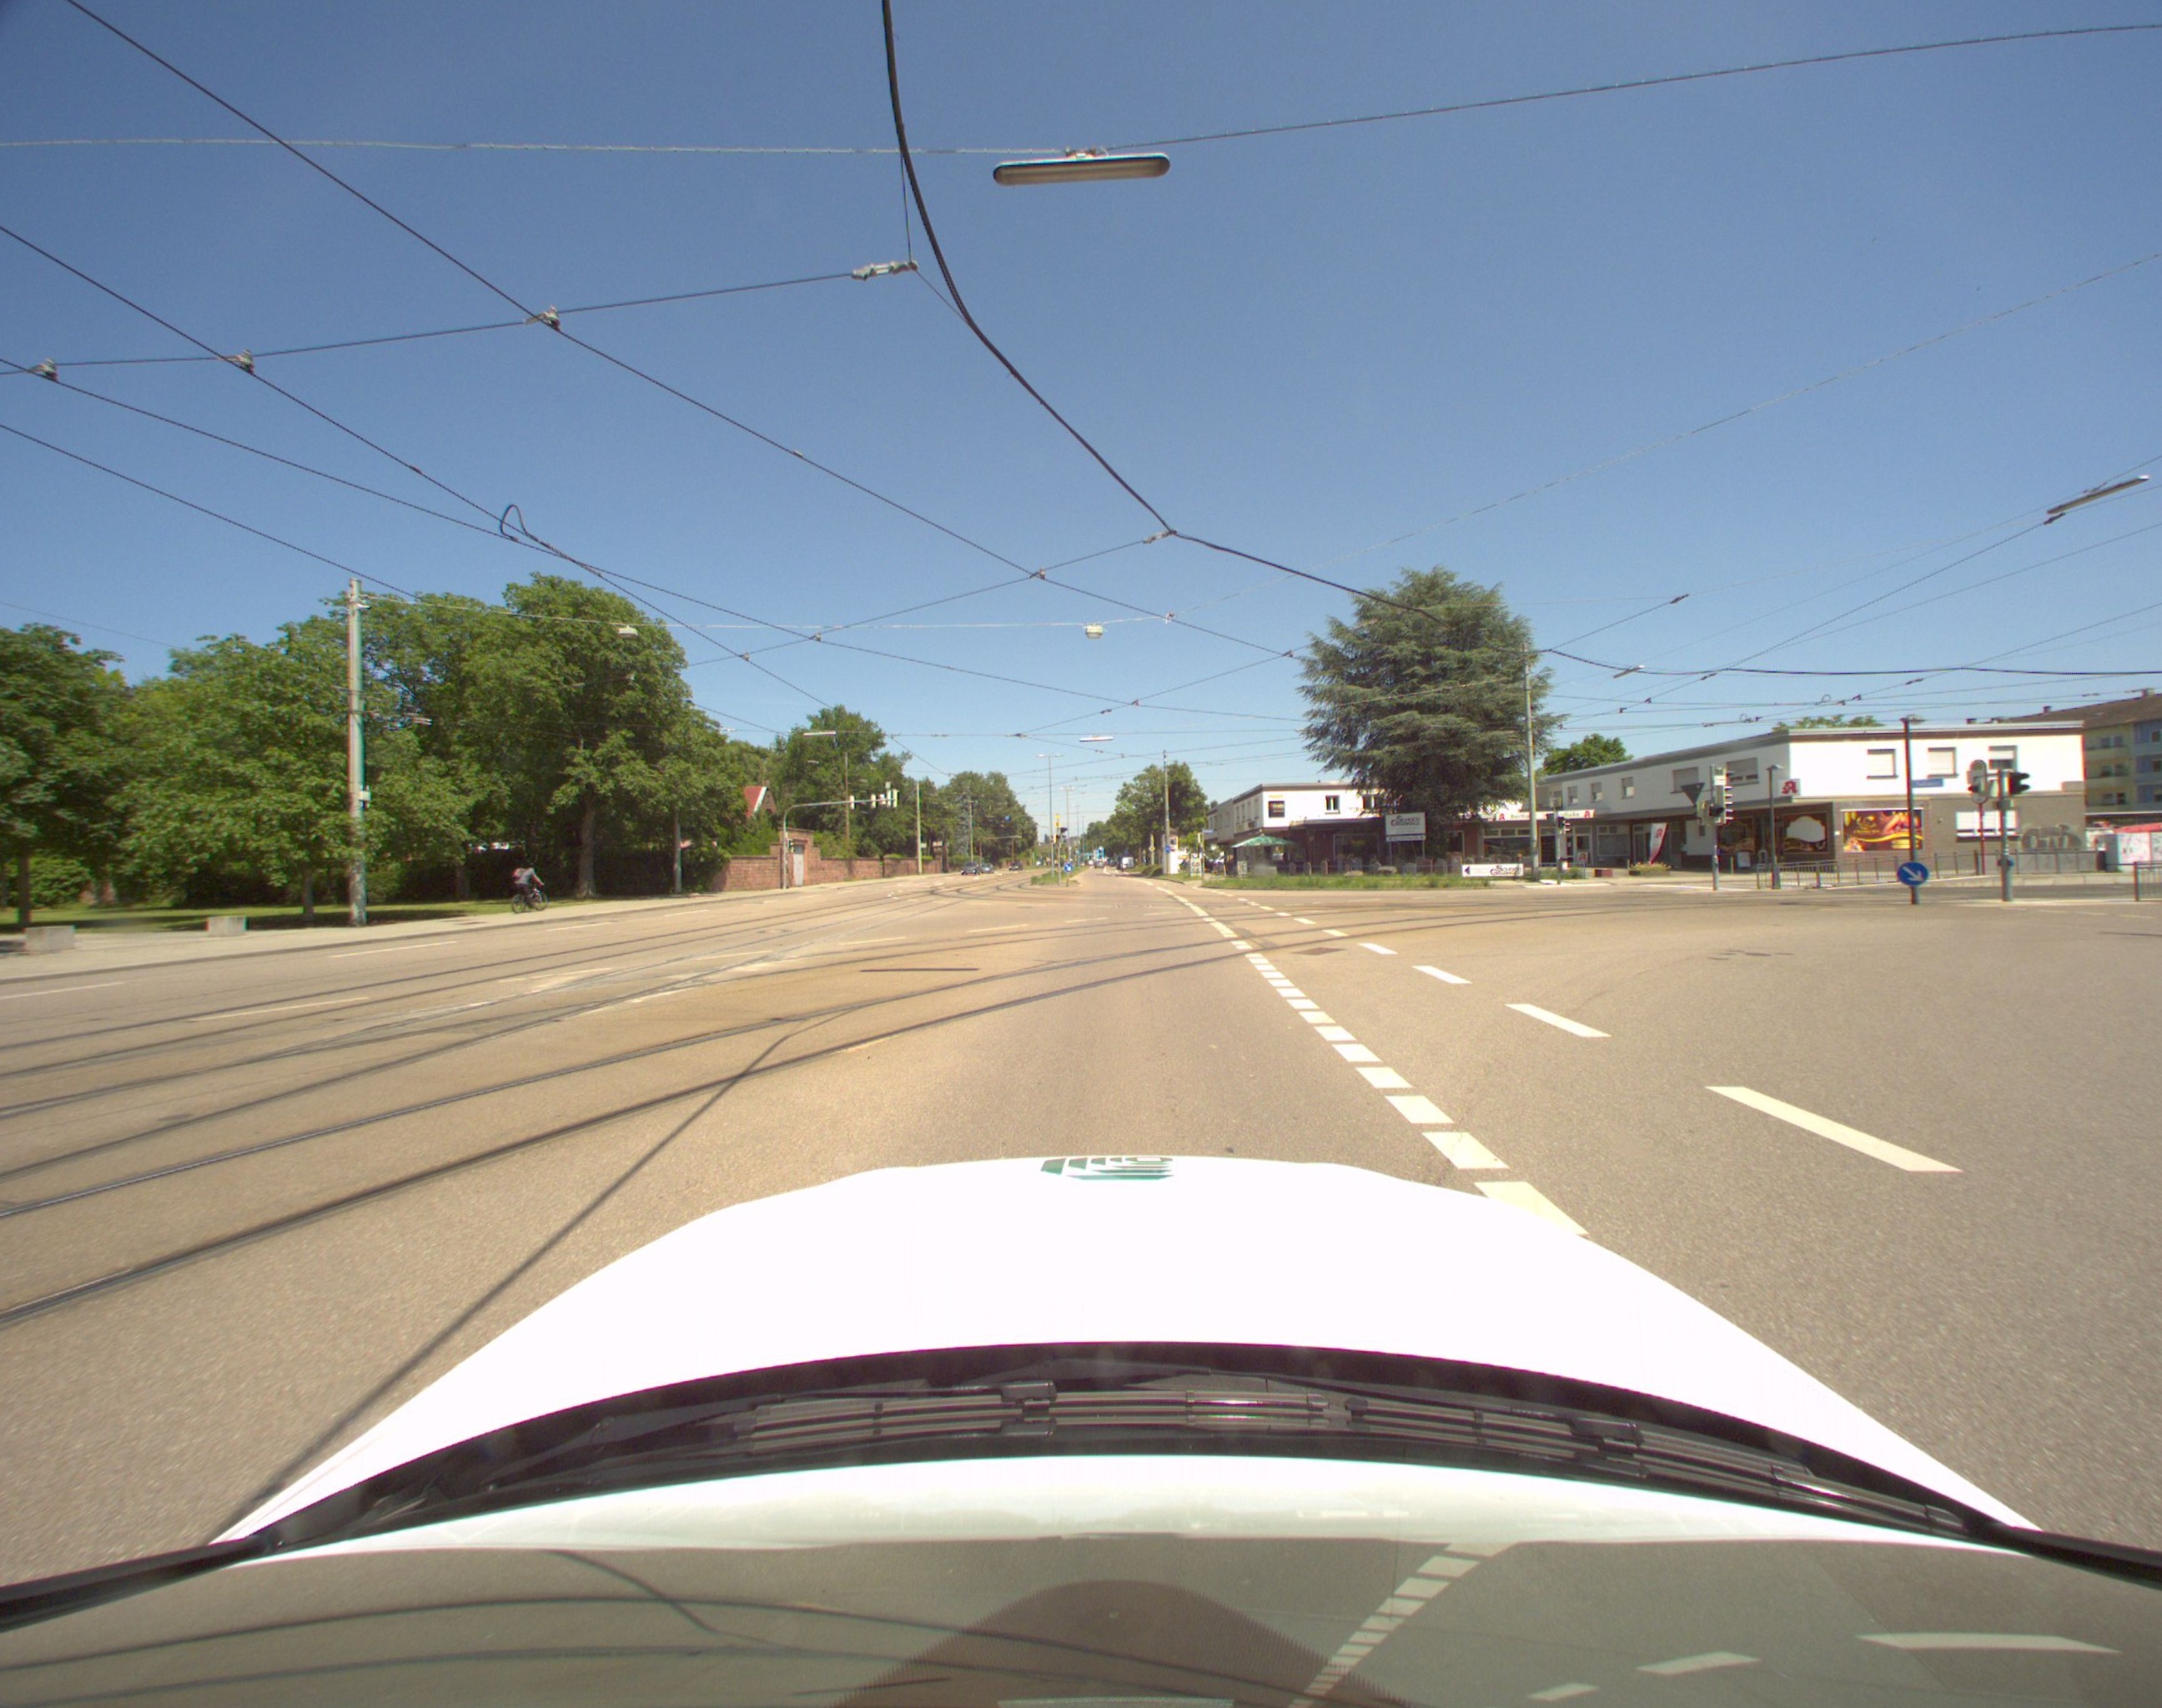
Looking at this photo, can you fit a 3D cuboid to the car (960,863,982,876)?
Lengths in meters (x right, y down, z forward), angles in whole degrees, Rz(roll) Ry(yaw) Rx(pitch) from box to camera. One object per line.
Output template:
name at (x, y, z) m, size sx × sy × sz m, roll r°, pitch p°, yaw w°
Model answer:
car at (-13.597, 1.881, 100.932) m, size 1.812 × 1.603 × 4.523 m, roll -1°, pitch -1°, yaw 3°

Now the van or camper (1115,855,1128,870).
van or camper at (6.855, 1.386, 138.207) m, size 1.988 × 2.464 × 3.998 m, roll -1°, pitch -1°, yaw -1°

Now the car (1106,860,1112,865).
car at (8.675, 2.622, 250.883) m, size 1.519 × 1.296 × 3.491 m, roll -1°, pitch -1°, yaw -1°

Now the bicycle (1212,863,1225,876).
bicycle at (11.717, 1.290, 69.419) m, size 1.028 × 1.015 × 2.643 m, roll -1°, pitch -1°, yaw 9°

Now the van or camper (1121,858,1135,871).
van or camper at (6.617, 1.421, 115.830) m, size 1.915 × 1.772 × 4.002 m, roll -1°, pitch -1°, yaw 2°

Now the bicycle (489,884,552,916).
bicycle at (-19.878, 1.610, 28.920) m, size 0.712 × 1.041 × 2.104 m, roll -1°, pitch -1°, yaw 2°

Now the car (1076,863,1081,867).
car at (-0.894, 3.428, 258.664) m, size 1.487 × 1.046 × 3.580 m, roll -1°, pitch -1°, yaw 1°

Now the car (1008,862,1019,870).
car at (-11.675, 2.017, 140.994) m, size 1.635 × 1.399 × 4.116 m, roll 0°, pitch 0°, yaw 1°

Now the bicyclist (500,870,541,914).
bicyclist at (-19.851, 1.337, 28.867) m, size 0.847 × 1.531 × 0.845 m, roll -1°, pitch -1°, yaw 1°

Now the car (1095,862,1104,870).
car at (3.356, 2.163, 148.669) m, size 1.632 × 1.351 × 3.840 m, roll -1°, pitch -1°, yaw -1°

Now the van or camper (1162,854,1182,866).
van or camper at (17.063, 1.161, 152.962) m, size 3.546 × 2.145 × 1.602 m, roll -1°, pitch -1°, yaw -1°

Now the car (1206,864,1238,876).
car at (17.285, 1.929, 99.780) m, size 3.601 × 1.351 × 1.488 m, roll -1°, pitch -1°, yaw -5°

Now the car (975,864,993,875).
car at (-13.454, 2.100, 113.364) m, size 1.634 × 1.421 × 4.172 m, roll -1°, pitch -1°, yaw 4°

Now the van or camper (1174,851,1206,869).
van or camper at (17.250, 0.983, 128.504) m, size 4.741 × 2.671 × 2.135 m, roll -1°, pitch -1°, yaw -1°

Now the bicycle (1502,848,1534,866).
bicycle at (29.759, 0.202, 55.492) m, size 1.858 × 1.192 × 0.600 m, roll 0°, pitch -2°, yaw 12°
